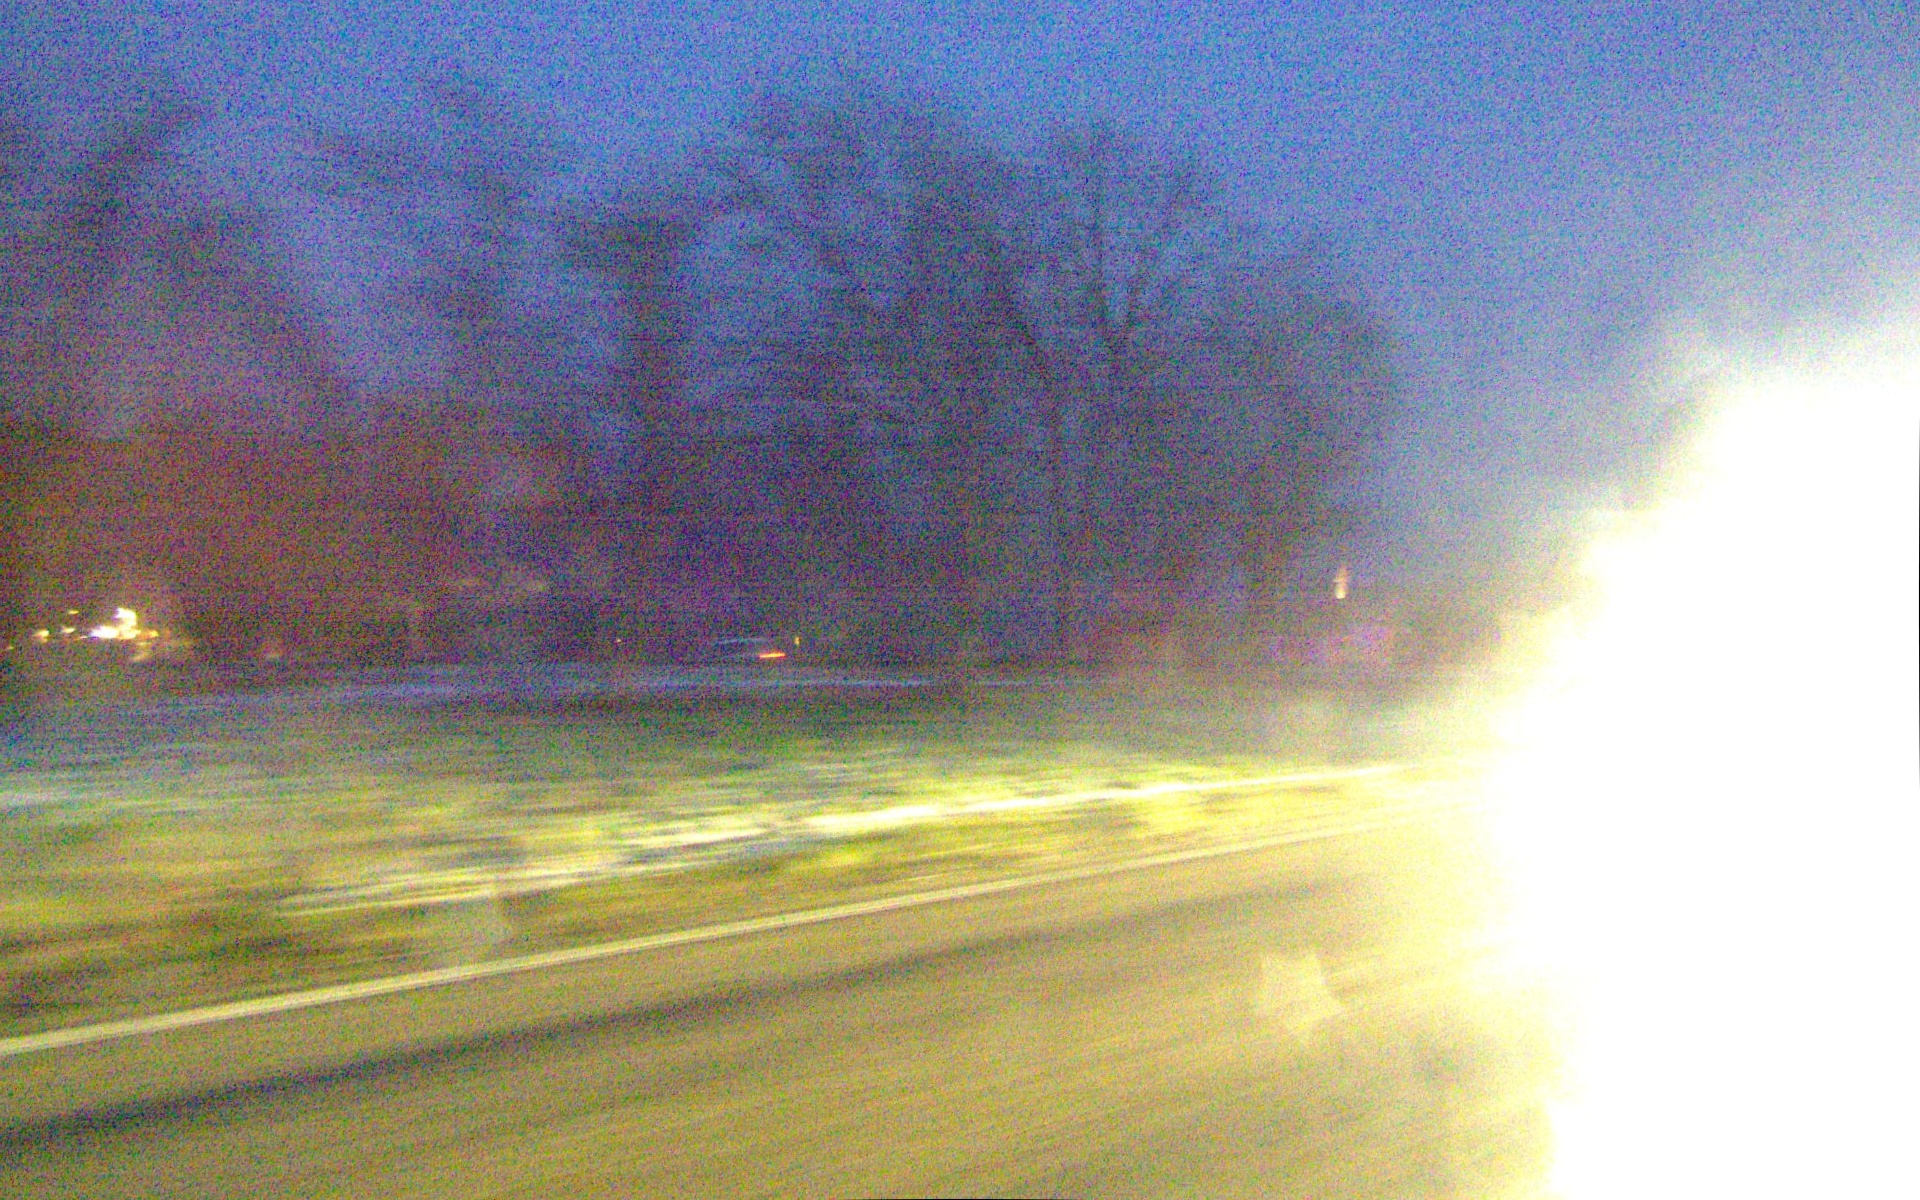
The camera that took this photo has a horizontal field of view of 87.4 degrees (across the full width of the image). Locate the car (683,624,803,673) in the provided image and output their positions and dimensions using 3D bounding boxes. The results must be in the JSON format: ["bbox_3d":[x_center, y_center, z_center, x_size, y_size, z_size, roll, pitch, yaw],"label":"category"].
[{"bbox_3d":[-8.032,1.825,37.456,4.083,1.709,1.694,1,-3,-3],"label":"car"}]

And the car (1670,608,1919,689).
[{"bbox_3d":[20.321,1.110,24.220,1.979,1.757,4.884,1,-2,-33],"label":"car"}]

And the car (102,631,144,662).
[{"bbox_3d":[-66.149,3.639,79.453,2.285,2.040,4.617,4,0,-38],"label":"car"}]

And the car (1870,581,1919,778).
[{"bbox_3d":[10.565,0.753,9.609,3.956,1.757,1.743,1,2,-33],"label":"car"}]
